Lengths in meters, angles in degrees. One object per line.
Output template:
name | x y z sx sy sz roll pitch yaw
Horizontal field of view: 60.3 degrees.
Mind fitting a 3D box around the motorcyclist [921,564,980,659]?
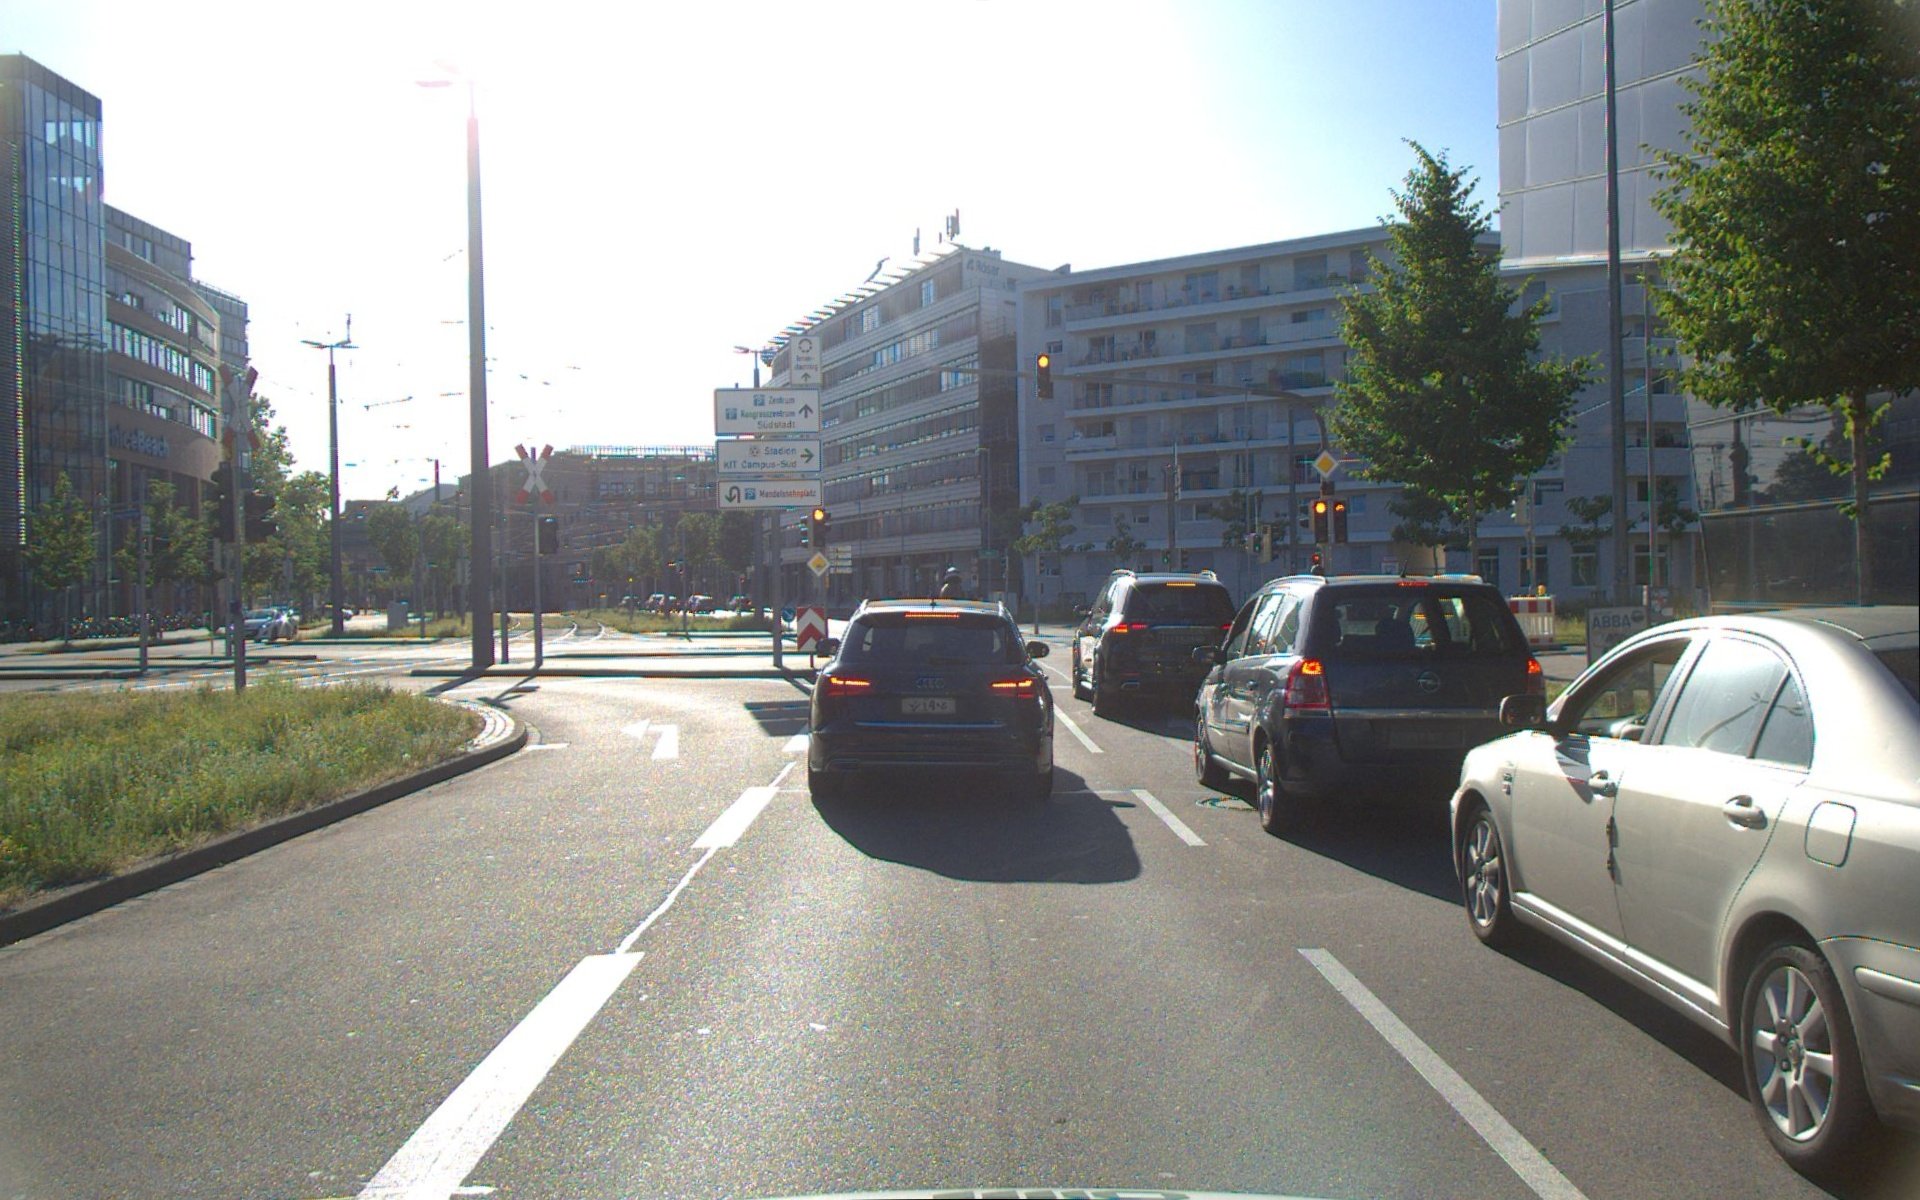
motorcyclist | -0.140 0.166 24.169 0.845 1.349 0.681 -1 0 -1

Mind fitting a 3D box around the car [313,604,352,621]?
car | -60.284 1.190 158.837 3.280 1.616 1.654 -1 0 24

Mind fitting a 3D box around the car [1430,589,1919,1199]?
car | 3.077 0.722 5.581 1.710 1.507 4.629 -1 0 1

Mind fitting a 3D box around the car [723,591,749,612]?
car | -21.729 0.171 160.441 1.961 1.870 3.983 -2 -1 -16

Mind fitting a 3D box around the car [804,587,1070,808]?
car | -0.190 0.650 13.297 1.805 1.479 3.999 1 1 -1

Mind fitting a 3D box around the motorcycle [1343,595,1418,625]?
motorcycle | 14.943 0.345 58.764 2.405 1.018 1.170 -1 0 27

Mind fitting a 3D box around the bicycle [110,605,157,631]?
bicycle | -50.217 1.102 100.509 2.551 1.458 0.772 -2 -1 8

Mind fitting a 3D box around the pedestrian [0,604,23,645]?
pedestrian | -44.263 1.150 76.957 0.809 1.856 0.905 -2 -1 0

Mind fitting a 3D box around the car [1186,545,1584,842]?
car | 2.793 0.552 11.861 1.710 1.725 4.260 1 0 -1

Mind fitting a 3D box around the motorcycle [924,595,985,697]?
motorcycle | -0.087 0.646 24.184 0.845 1.417 1.893 -1 0 -1

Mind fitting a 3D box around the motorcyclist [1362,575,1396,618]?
motorcyclist | 14.889 -0.113 58.761 0.907 1.507 1.170 -1 0 27

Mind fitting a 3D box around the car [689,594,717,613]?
car | -23.019 0.303 148.207 1.962 1.624 3.981 -2 0 -17

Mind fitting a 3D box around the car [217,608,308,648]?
car | -29.967 1.158 71.169 1.952 1.572 4.530 -1 0 0

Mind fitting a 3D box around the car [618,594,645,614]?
car | -30.980 0.386 155.752 1.963 1.736 3.978 -2 -1 -19

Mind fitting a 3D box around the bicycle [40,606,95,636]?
bicycle | -46.351 1.096 85.906 2.319 1.458 1.077 -2 -1 8

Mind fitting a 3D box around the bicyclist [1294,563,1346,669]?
bicyclist | 5.813 0.243 26.739 0.640 1.671 0.972 -1 0 2

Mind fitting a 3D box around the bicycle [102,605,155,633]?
bicycle | -46.201 1.062 91.875 2.507 1.458 0.905 -2 -1 8

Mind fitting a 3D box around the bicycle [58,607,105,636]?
bicycle | -46.201 1.129 86.994 2.039 1.458 0.861 -2 -1 8

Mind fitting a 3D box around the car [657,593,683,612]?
car | -26.396 0.231 150.486 1.961 1.624 3.983 -2 0 -16

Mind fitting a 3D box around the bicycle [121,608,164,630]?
bicycle | -50.394 1.162 101.934 2.362 1.257 0.745 -2 -1 8

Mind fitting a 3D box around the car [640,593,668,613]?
car | -29.002 0.275 156.690 1.963 1.736 3.978 -2 -1 -19

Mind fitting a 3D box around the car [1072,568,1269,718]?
car | 2.633 0.483 21.727 1.962 1.745 4.372 1 1 -1

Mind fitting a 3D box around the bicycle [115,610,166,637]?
bicycle | -46.624 1.333 94.117 2.507 1.458 0.905 -2 -1 8
